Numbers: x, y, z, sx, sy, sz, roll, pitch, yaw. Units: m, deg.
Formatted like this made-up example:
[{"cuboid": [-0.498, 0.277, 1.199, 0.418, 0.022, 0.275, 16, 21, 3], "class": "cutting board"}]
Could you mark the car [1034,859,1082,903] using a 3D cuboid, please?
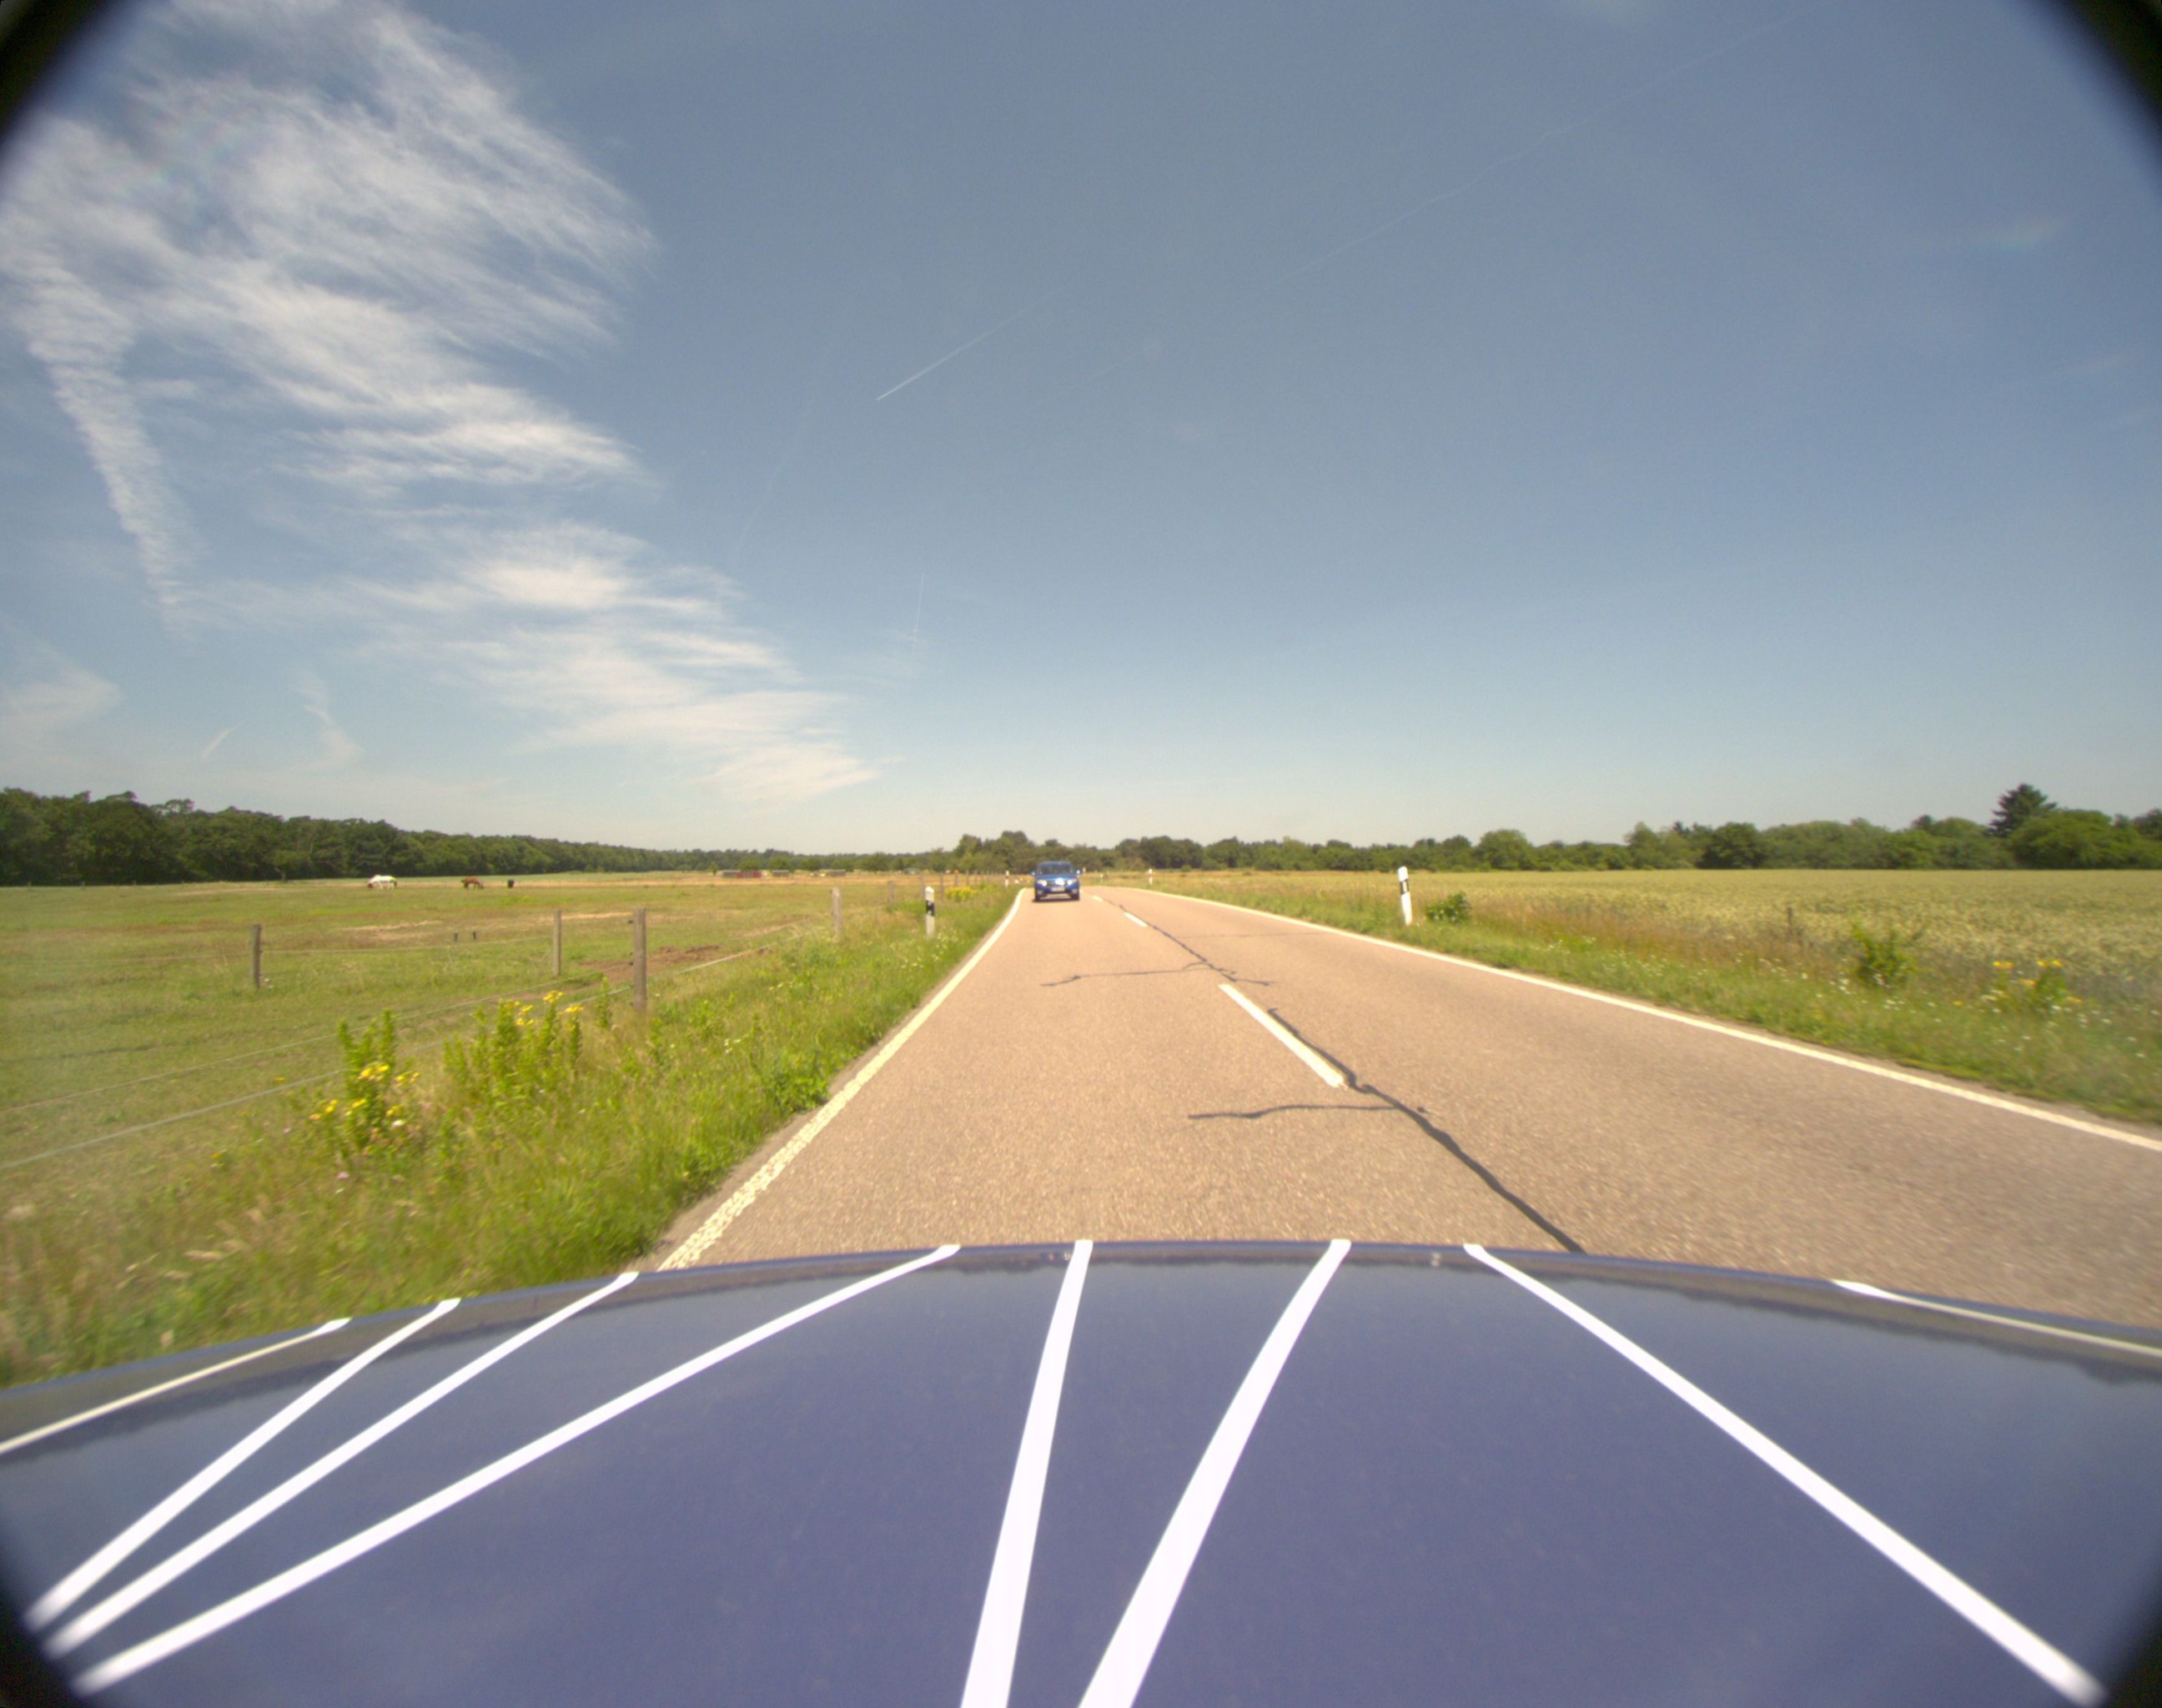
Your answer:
[{"cuboid": [-0.913, 1.006, 30.348, 1.734, 1.572, 3.999, -2, 0, -2], "class": "car"}]
